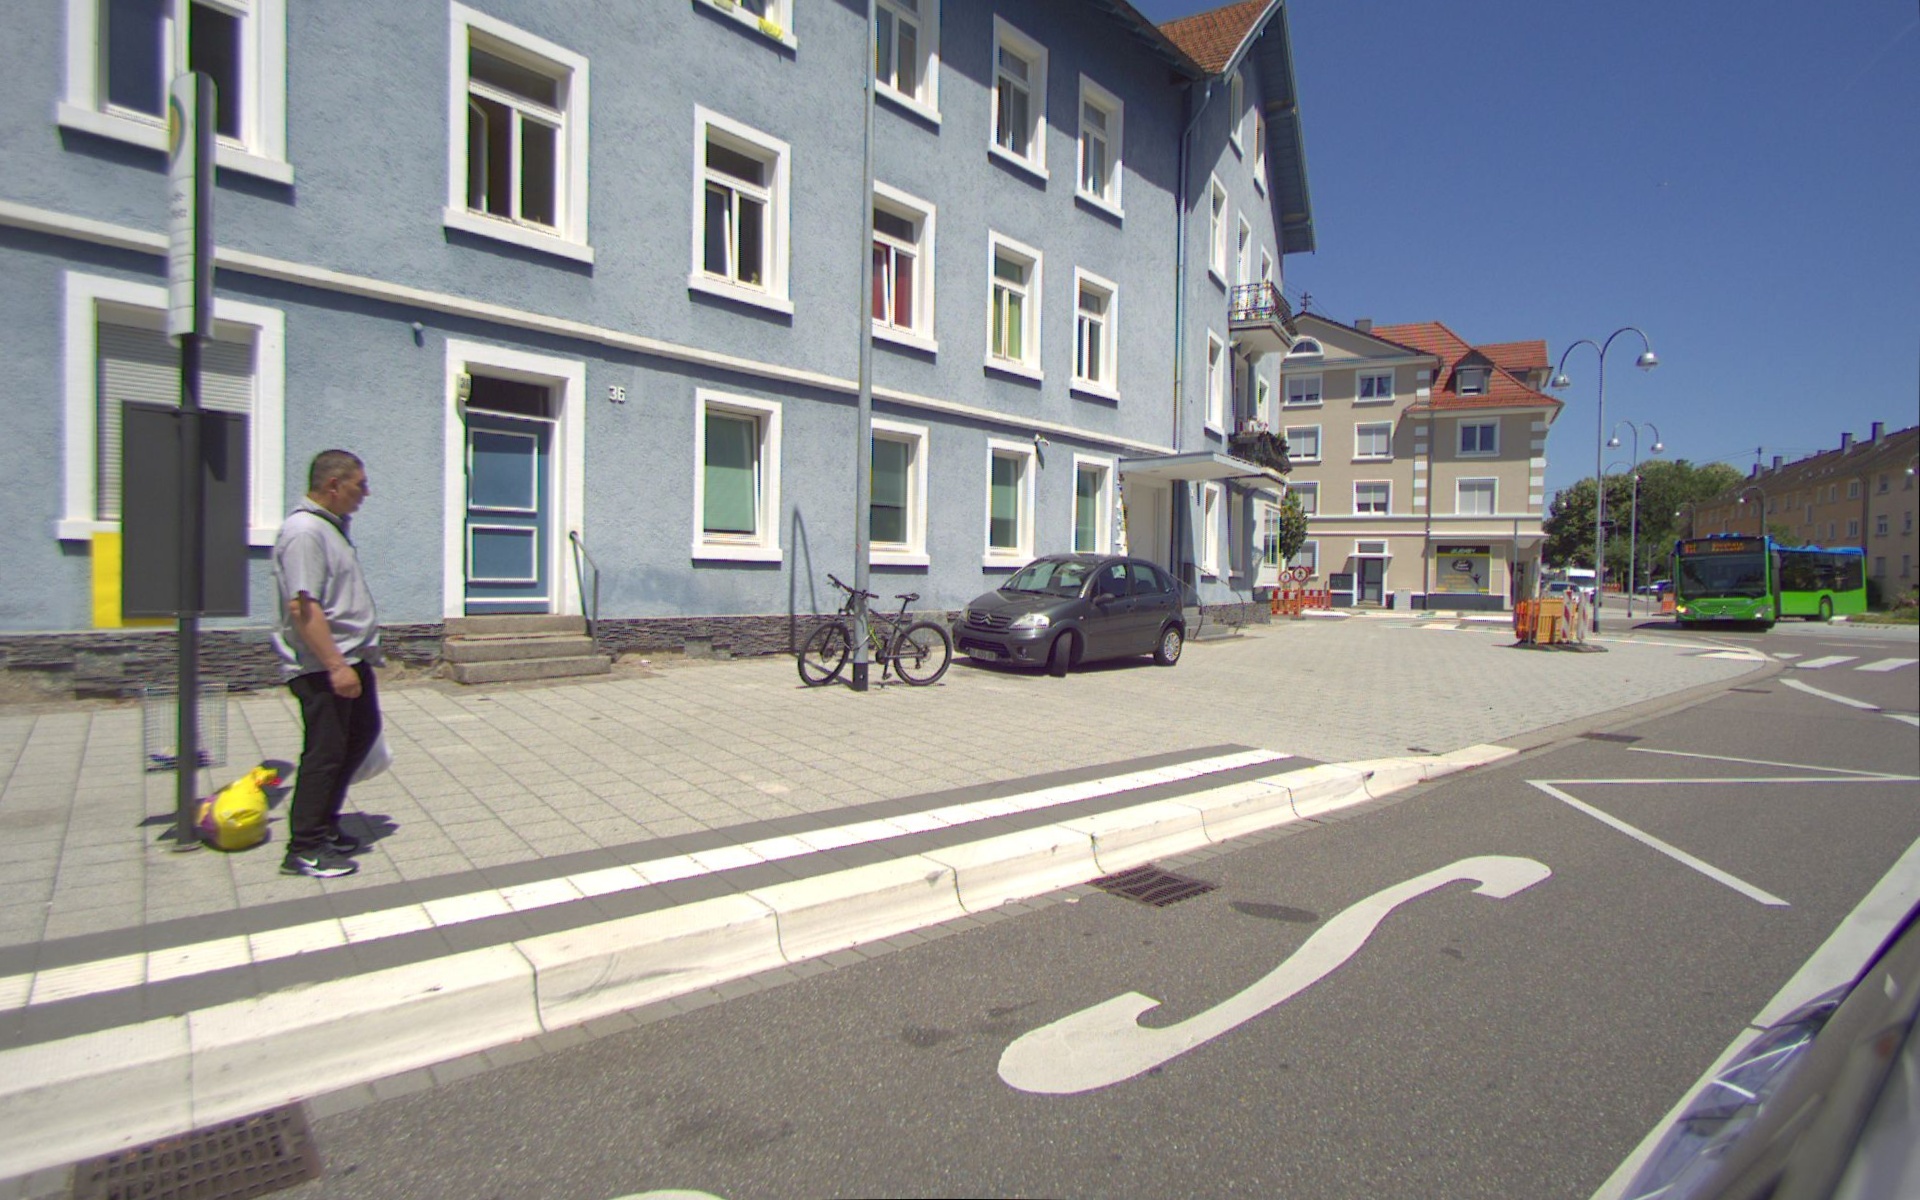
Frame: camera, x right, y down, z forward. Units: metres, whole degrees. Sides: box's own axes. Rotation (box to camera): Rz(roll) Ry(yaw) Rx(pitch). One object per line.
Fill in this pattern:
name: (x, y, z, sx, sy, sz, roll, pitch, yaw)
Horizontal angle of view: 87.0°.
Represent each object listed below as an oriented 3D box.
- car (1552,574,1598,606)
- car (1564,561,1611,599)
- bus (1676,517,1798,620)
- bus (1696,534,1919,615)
car: (31.571, -0.539, 52.062, 1.812, 1.427, 3.960, 3, 4, 29)
car: (43.976, -1.395, 71.019, 2.322, 2.486, 5.677, 3, 2, 29)
bus: (28.004, -0.950, 36.167, 2.899, 3.119, 12.379, -1, 0, 40)
bus: (36.181, -0.977, 42.119, 12.299, 3.101, 2.936, 0, -1, -22)
